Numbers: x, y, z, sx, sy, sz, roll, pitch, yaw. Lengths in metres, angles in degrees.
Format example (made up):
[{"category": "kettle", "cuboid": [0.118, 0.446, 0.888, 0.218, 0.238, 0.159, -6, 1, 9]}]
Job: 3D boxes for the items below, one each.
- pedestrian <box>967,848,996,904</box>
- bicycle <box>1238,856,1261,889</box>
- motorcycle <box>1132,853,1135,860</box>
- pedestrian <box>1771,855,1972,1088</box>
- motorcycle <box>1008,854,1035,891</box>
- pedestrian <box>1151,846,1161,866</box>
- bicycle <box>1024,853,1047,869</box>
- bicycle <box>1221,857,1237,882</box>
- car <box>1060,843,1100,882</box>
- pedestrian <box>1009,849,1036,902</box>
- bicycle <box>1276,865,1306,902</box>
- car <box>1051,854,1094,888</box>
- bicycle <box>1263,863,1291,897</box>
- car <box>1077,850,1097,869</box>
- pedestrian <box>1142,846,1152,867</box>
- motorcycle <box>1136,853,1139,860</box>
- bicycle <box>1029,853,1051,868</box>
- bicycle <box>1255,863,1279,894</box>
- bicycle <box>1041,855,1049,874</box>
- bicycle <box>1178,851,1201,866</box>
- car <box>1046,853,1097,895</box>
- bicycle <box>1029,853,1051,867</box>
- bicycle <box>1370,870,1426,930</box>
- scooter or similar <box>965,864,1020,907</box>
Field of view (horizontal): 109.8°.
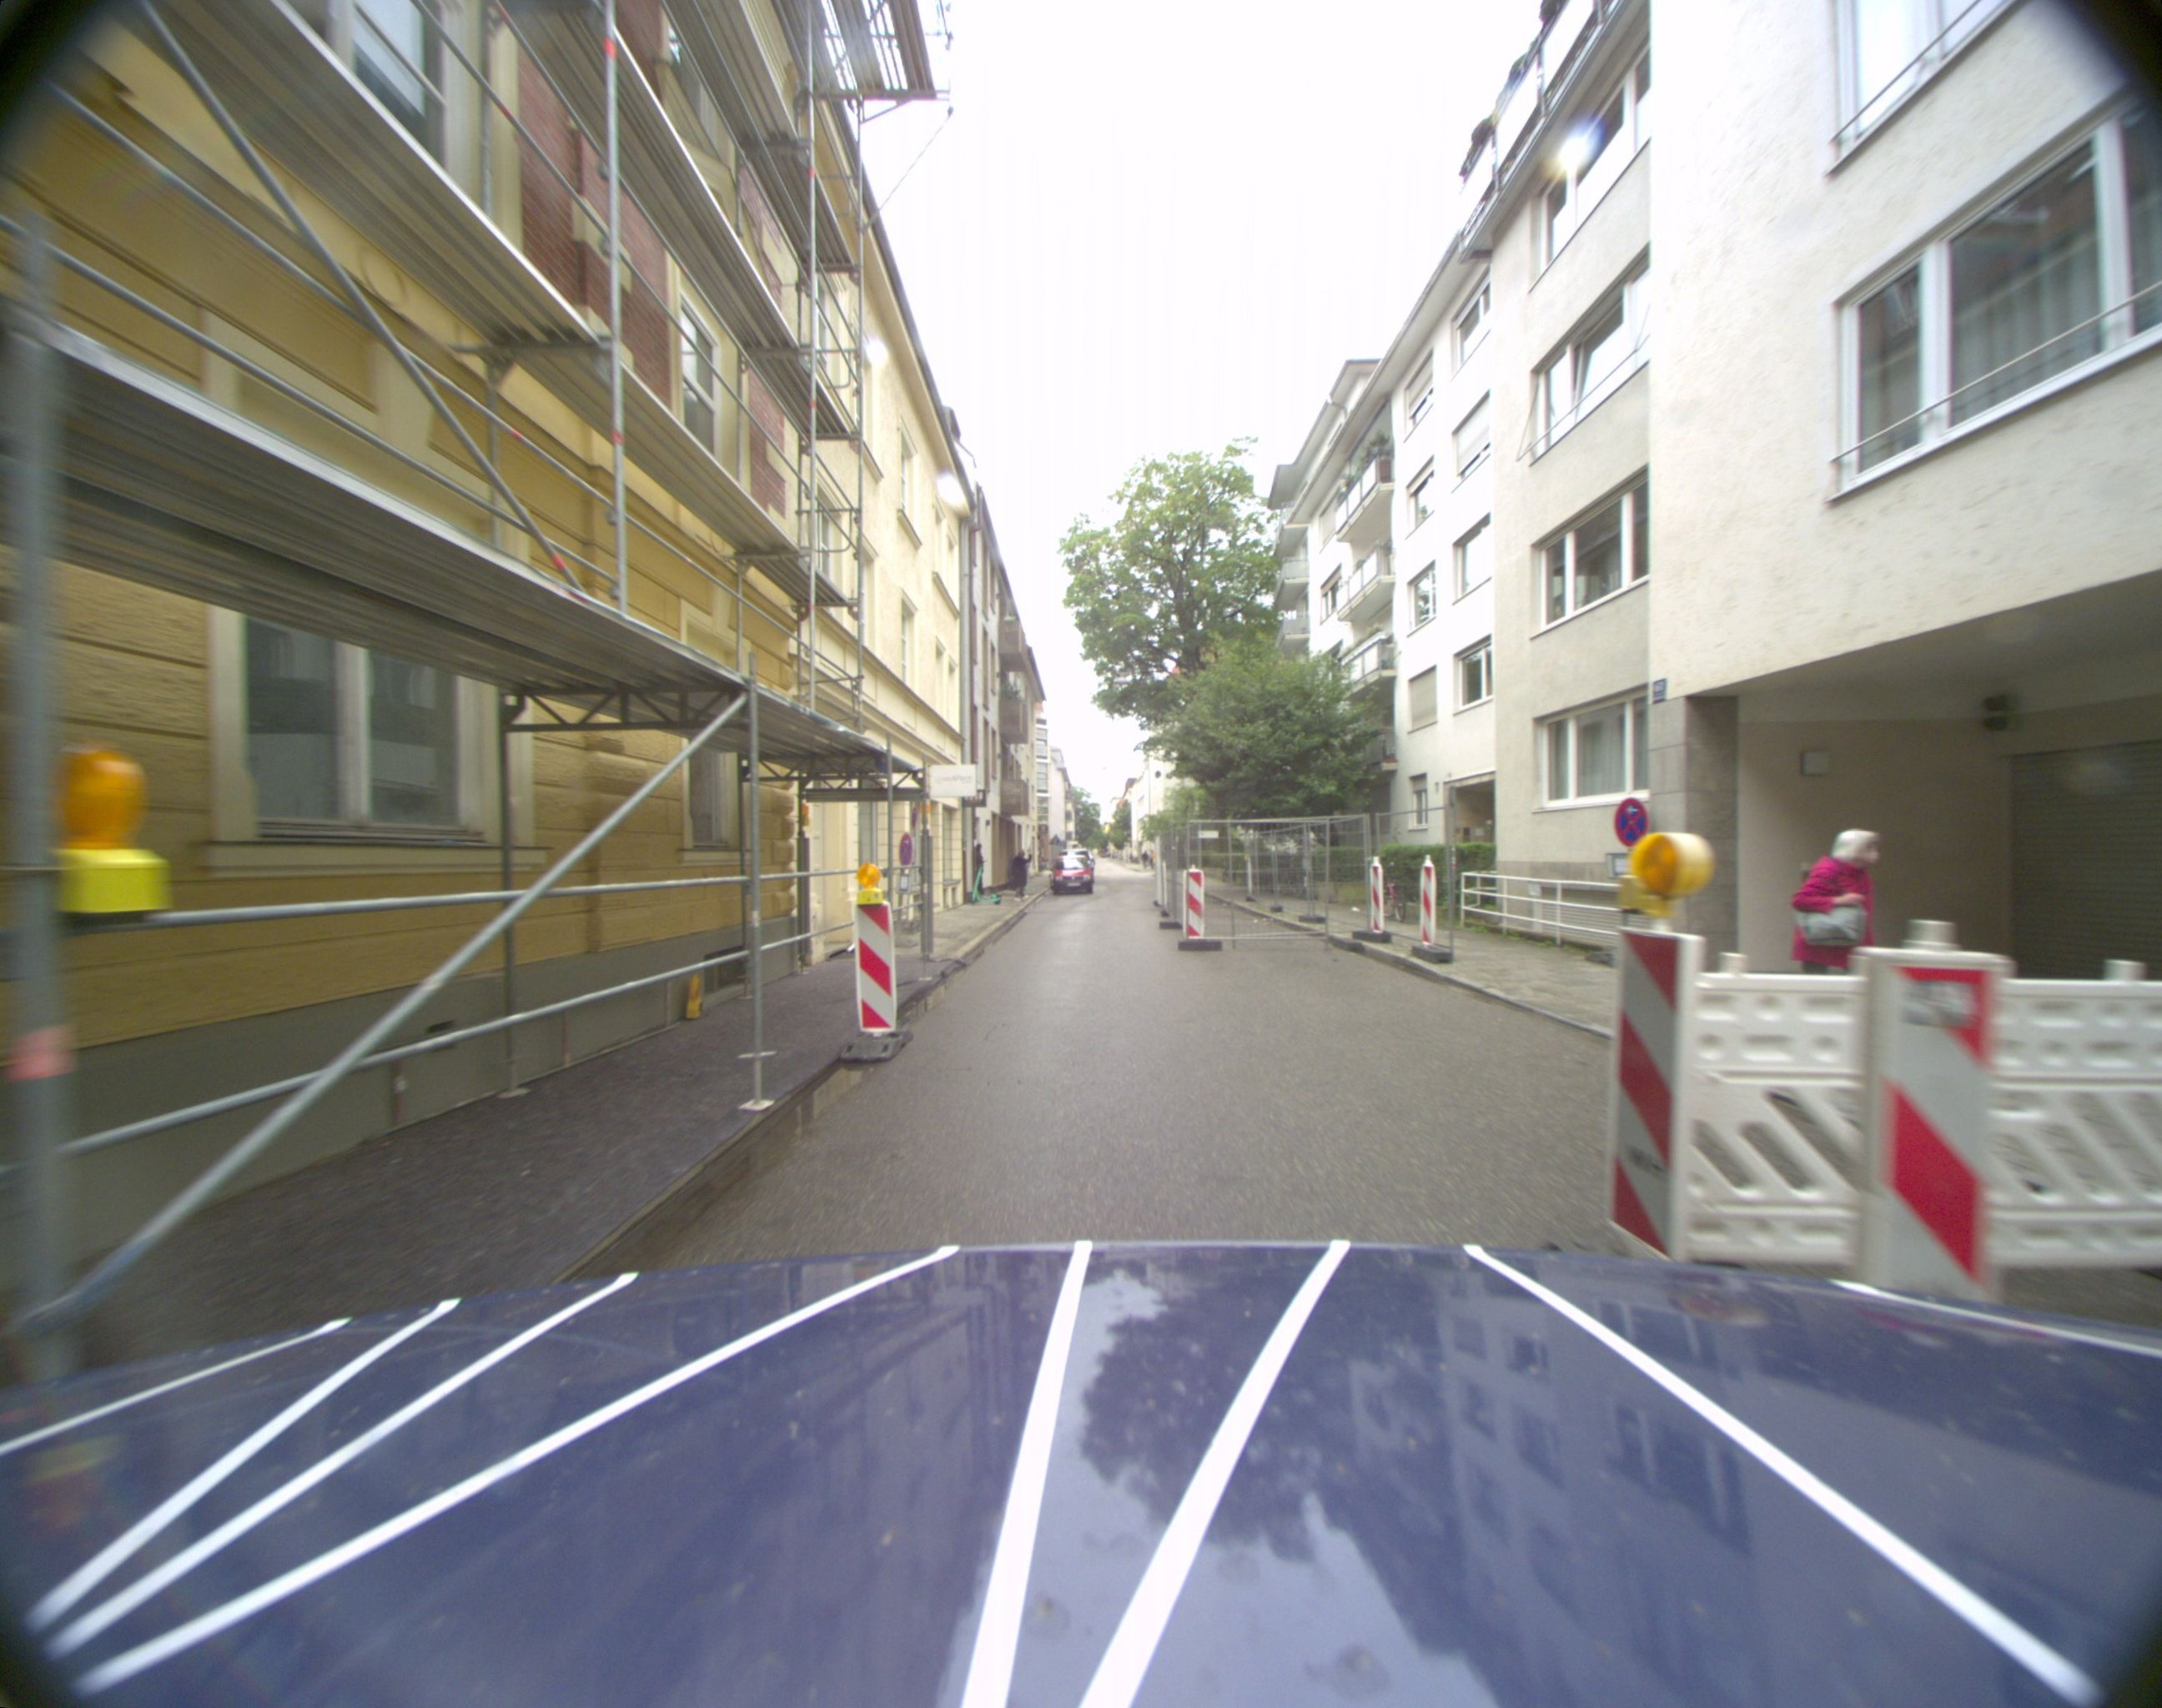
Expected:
[{"category": "pedestrian", "cuboid": [-3.019, 0.650, 23.084, 0.659, 1.677, 0.587, 1, 2, 27]}, {"category": "bicycle", "cuboid": [6.382, 0.702, 28.880, 0.489, 1.145, 1.698, -4, 1, 2]}, {"category": "motorcycle", "cuboid": [8.056, 0.386, 115.621, 0.324, 0.968, 1.961, -2, 0, 1]}, {"category": "pedestrian", "cuboid": [5.512, 0.774, 5.349, 0.639, 1.523, 0.747, -1, 1, 3]}, {"category": "motorcycle", "cuboid": [-2.435, 0.753, 31.529, 0.807, 1.415, 1.932, 5, 1, 2]}, {"category": "pedestrian", "cuboid": [6.561, 0.189, 66.840, 0.695, 1.718, 0.841, -5, 1, 1]}, {"category": "bicycle", "cuboid": [-3.758, 0.570, 62.728, 1.807, 1.315, 0.586, -1, 2, -24]}, {"category": "bicycle", "cuboid": [6.681, 0.684, 34.333, 0.347, 1.065, 1.780, -4, 0, 1]}, {"category": "car", "cuboid": [-0.118, 0.454, 42.357, 1.996, 1.965, 4.884, -3, 0, -1]}, {"category": "pedestrian", "cuboid": [-1.881, 0.686, 24.522, 0.660, 1.676, 0.547, 3, 1, 10]}, {"category": "bicycle", "cuboid": [6.336, 0.864, 22.989, 0.444, 0.973, 1.816, -4, 1, 2]}, {"category": "car", "cuboid": [-0.331, 0.773, 36.472, 1.772, 1.453, 4.380, -3, 0, 3]}, {"category": "bicycle", "cuboid": [6.400, 0.841, 24.854, 0.444, 0.973, 1.853, -4, 1, 2]}, {"category": "car", "cuboid": [0.516, 0.452, 69.208, 1.725, 1.606, 4.454, -2, 0, -1]}, {"category": "pedestrian", "cuboid": [5.807, 0.215, 66.862, 0.721, 1.718, 0.841, -5, 1, 1]}, {"category": "motorcycle", "cuboid": [7.857, 0.371, 106.026, 0.324, 0.968, 1.961, -2, 0, 1]}, {"category": "bicycle", "cuboid": [-3.425, 0.543, 63.435, 1.752, 1.180, 0.443, 2, 1, 7]}, {"category": "bicycle", "cuboid": [6.453, 0.825, 26.414, 0.437, 0.973, 1.698, -4, 1, 2]}, {"category": "bicycle", "cuboid": [-2.440, 0.699, 51.336, 0.411, 1.207, 1.818, 2, 2, 1]}, {"category": "bicycle", "cuboid": [9.199, 0.377, 64.384, 1.811, 1.253, 0.432, -1, 1, 0]}, {"category": "car", "cuboid": [-0.308, 0.766, 31.228, 1.776, 1.515, 4.067, -3, 0, 3]}, {"category": "bicycle", "cuboid": [-3.535, 0.506, 65.547, 1.872, 1.222, 0.594, 1, 2, 30]}, {"category": "bicycle", "cuboid": [6.256, 0.885, 15.048, 0.378, 1.057, 1.597, -7, 0, 2]}, {"category": "scooter or similar", "cuboid": [-2.560, 0.900, 22.037, 0.493, 1.177, 1.611, 3, 1, 42]}]
